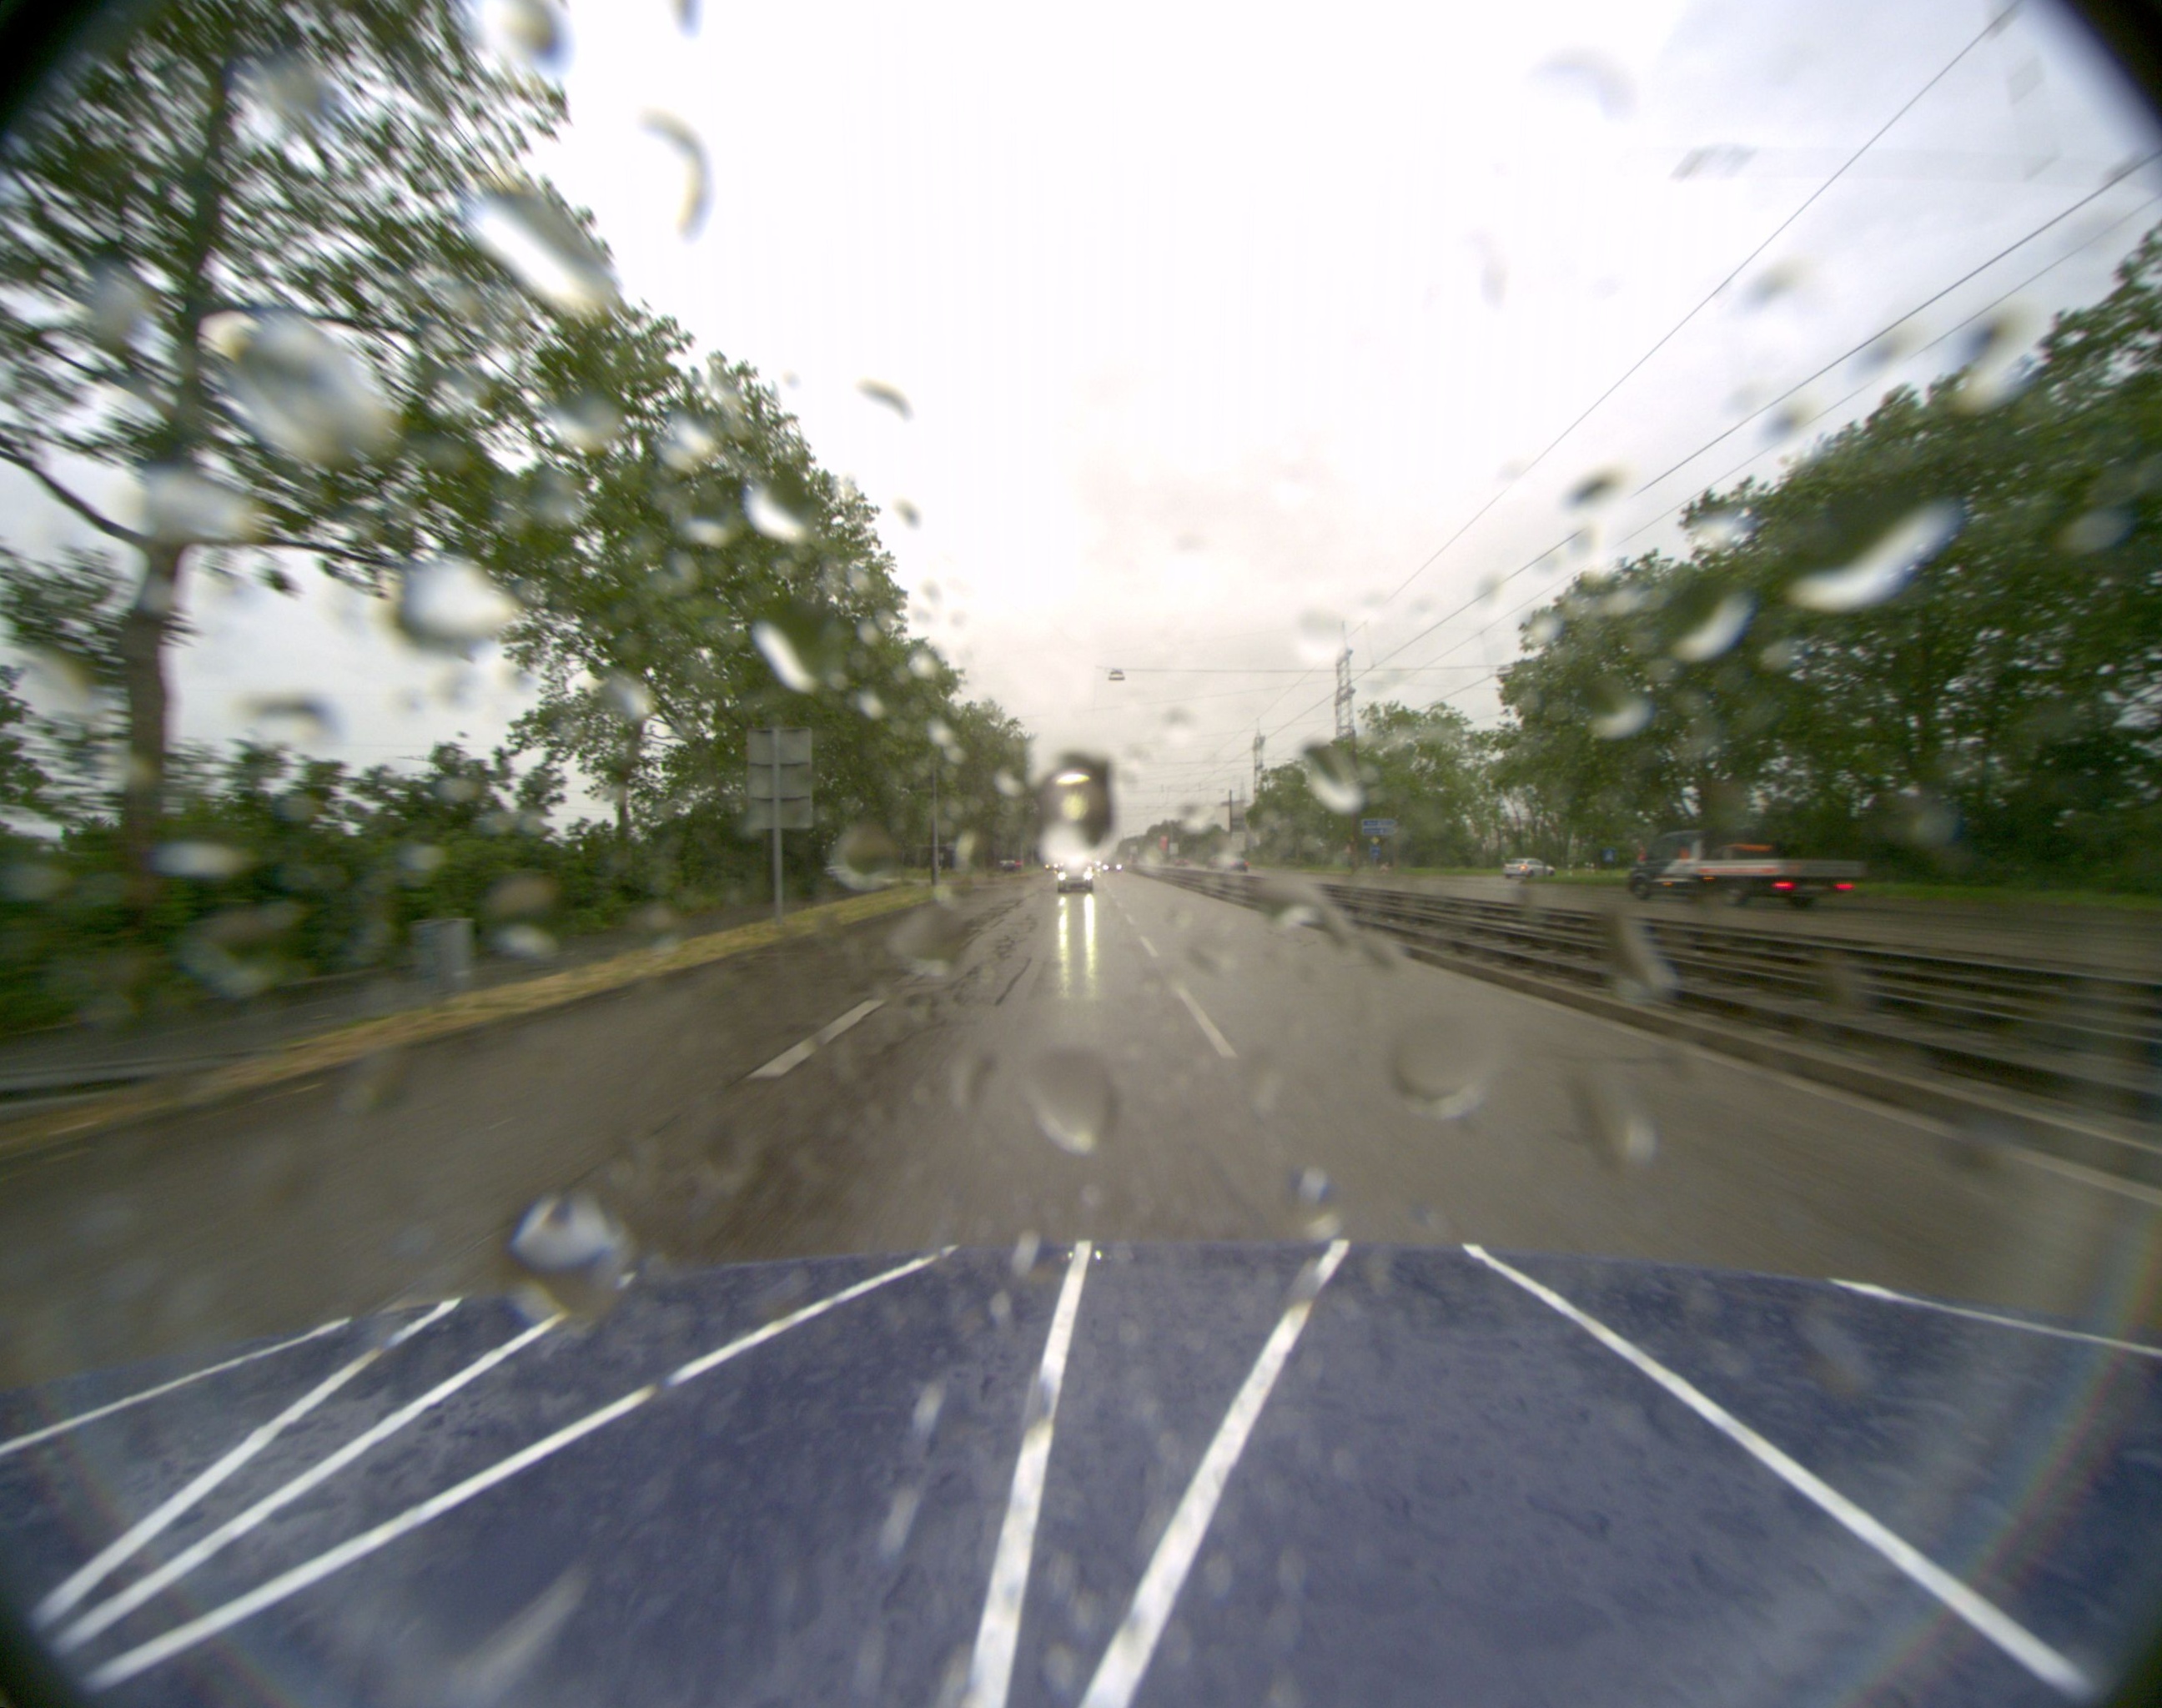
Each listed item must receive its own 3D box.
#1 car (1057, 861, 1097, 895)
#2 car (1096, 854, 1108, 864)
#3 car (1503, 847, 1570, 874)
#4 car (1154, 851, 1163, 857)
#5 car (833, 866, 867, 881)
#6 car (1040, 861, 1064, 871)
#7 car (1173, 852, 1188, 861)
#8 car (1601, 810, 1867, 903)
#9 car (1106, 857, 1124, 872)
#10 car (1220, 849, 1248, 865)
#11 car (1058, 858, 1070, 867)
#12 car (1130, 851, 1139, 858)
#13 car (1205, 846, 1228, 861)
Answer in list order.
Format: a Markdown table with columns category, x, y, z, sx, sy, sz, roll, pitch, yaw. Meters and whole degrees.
| category | x | y | z | sx | sy | sz | roll | pitch | yaw |
| --- | --- | --- | --- | --- | --- | --- | --- | --- | --- |
| car | -0.177 | 1.175 | 37.824 | 1.807 | 1.521 | 3.645 | -3 | -1 | 0 |
| car | 3.482 | 0.804 | 126.995 | 1.807 | 1.521 | 3.645 | -3 | -1 | 0 |
| car | 33.471 | 0.468 | 55.798 | 5.027 | 1.696 | 1.822 | -3 | 0 | -28 |
| car | 19.348 | 0.045 | 189.358 | 1.693 | 1.543 | 4.000 | -3 | -1 | 0 |
| car | -26.096 | 2.169 | 85.849 | 3.252 | 1.477 | 1.607 | -3 | 0 | -35 |
| car | -4.366 | 1.765 | 114.831 | 1.781 | 1.419 | 4.007 | -2 | -1 | 27 |
| car | 17.253 | 0.457 | 131.881 | 1.795 | 1.540 | 5.314 | -3 | -1 | 1 |
| car | 19.382 | 0.102 | 23.269 | 2.104 | 2.329 | 6.990 | -3 | -1 | 1 |
| car | 3.761 | 1.144 | 85.133 | 1.807 | 1.521 | 3.645 | -3 | -1 | 0 |
| car | 16.065 | 0.331 | 79.907 | 1.780 | 1.575 | 5.682 | -3 | -1 | 0 |
| car | -2.892 | 1.511 | 132.722 | 1.783 | 1.419 | 4.001 | -2 | -1 | 2 |
| car | 14.765 | 0.200 | 210.129 | 1.892 | 1.798 | 5.004 | -3 | -1 | -1 |
| car | 17.391 | -0.057 | 97.590 | 1.824 | 1.695 | 6.105 | -3 | -1 | 1 |
